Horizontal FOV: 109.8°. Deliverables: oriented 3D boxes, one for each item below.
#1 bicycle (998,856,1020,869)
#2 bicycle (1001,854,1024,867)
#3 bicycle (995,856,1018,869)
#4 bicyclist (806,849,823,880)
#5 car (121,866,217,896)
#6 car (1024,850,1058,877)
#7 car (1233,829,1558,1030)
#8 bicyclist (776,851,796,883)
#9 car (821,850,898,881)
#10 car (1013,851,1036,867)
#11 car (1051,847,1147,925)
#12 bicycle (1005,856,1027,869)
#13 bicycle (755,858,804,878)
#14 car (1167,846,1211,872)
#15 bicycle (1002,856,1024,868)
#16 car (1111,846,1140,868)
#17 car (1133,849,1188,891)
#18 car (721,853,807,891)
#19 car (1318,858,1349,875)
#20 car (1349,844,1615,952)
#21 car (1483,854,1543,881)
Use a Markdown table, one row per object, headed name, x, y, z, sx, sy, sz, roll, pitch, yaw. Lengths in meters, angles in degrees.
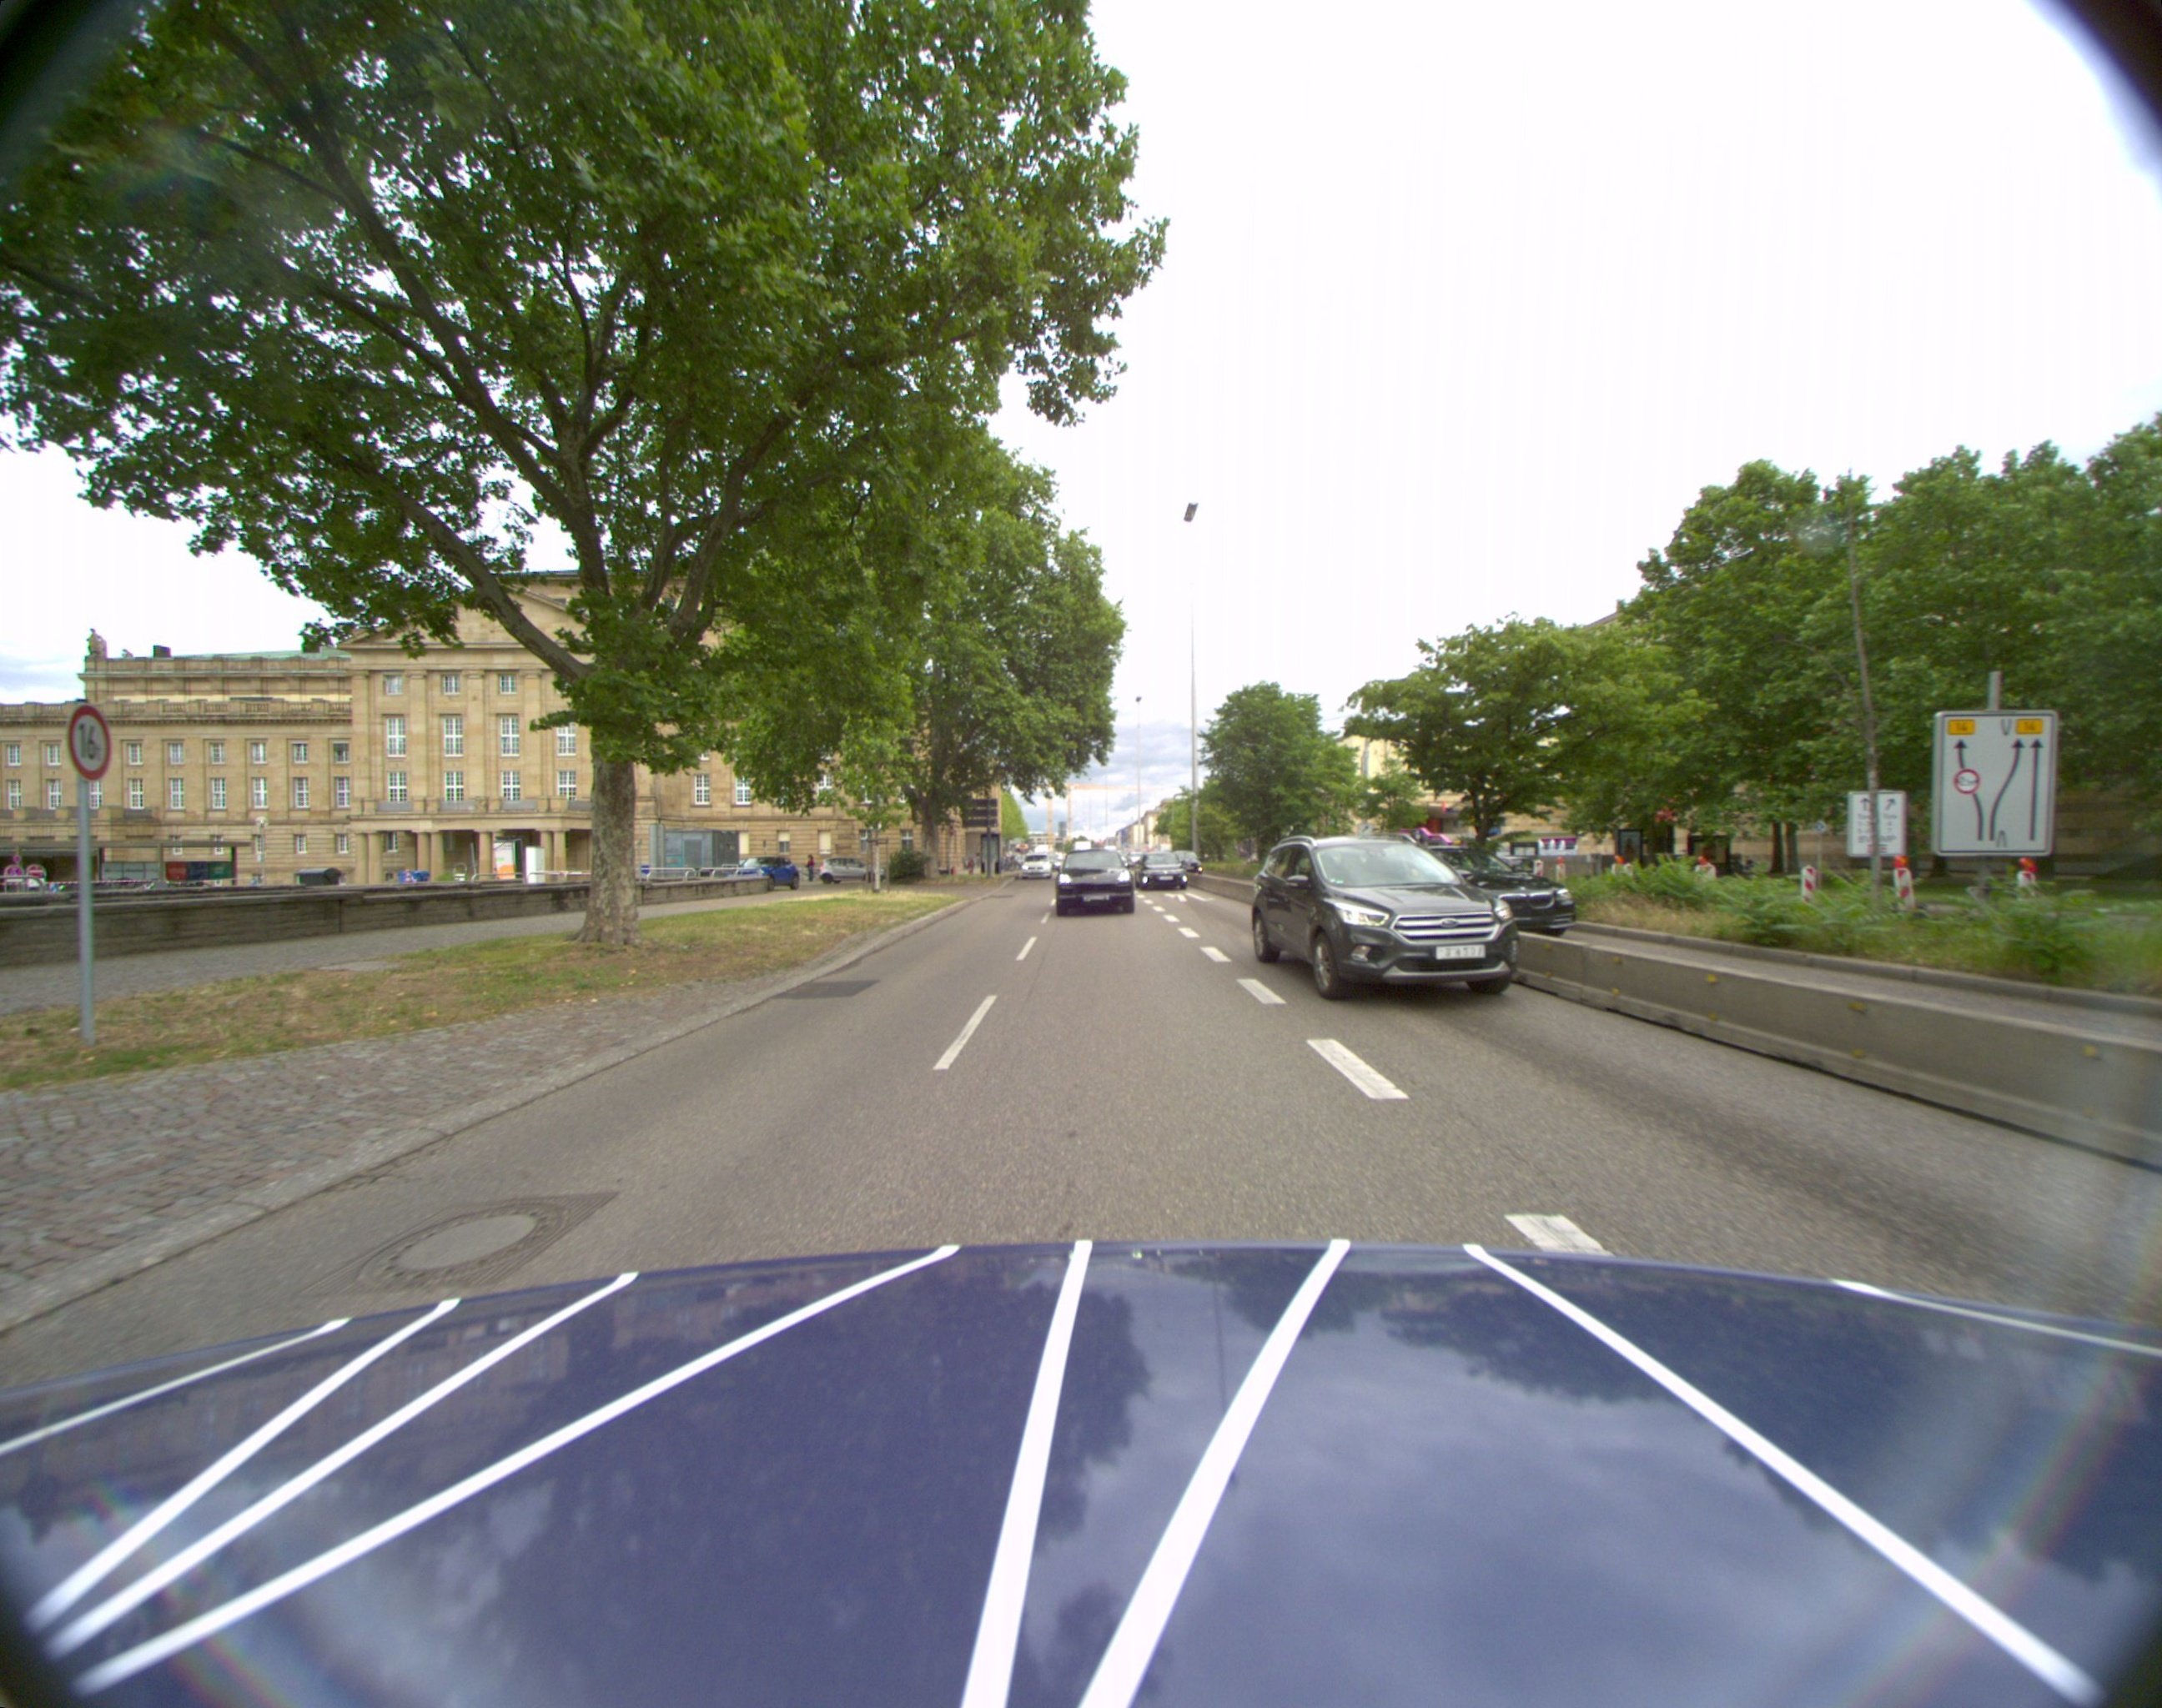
| name | x | y | z | sx | sy | sz | roll | pitch | yaw |
| --- | --- | --- | --- | --- | --- | --- | --- | --- | --- |
| bicycle | -6.200 | 0.748 | 65.105 | 1.841 | 1.066 | 0.618 | -1 | 1 | -7 |
| bicycle | -6.173 | 0.622 | 68.537 | 1.939 | 1.126 | 0.540 | -1 | 1 | -19 |
| bicycle | -6.317 | 0.730 | 64.428 | 1.918 | 1.092 | 0.541 | -1 | 1 | -7 |
| bicyclist | -18.063 | 0.712 | 51.518 | 0.879 | 2.002 | 0.842 | -4 | 2 | -25 |
| car | -61.596 | 1.825 | 51.374 | 3.997 | 1.707 | 2.000 | -3 | 1 | 0 |
| car | -2.477 | 0.567 | 47.908 | 1.695 | 1.585 | 4.000 | -1 | 1 | 2 |
| car | 3.224 | 0.665 | 8.994 | 1.898 | 1.705 | 4.658 | -2 | 0 | 0 |
| bicyclist | -19.121 | 0.839 | 49.307 | 1.105 | 2.002 | 1.010 | -2 | 0 | -18 |
| car | -13.188 | 0.687 | 45.470 | 3.997 | 1.587 | 1.734 | -3 | 1 | 0 |
| car | -5.752 | 0.471 | 78.168 | 1.843 | 1.522 | 4.000 | -1 | 1 | 3 |
| car | 0.318 | 0.709 | 19.627 | 2.062 | 1.616 | 4.599 | -4 | 1 | -3 |
| bicycle | -5.683 | 0.714 | 66.058 | 1.841 | 1.066 | 0.532 | -1 | 1 | -8 |
| bicycle | -19.499 | 0.912 | 49.226 | 2.846 | 1.178 | 1.096 | -1 | 1 | -16 |
| car | 6.534 | 0.303 | 46.506 | 1.999 | 1.474 | 4.808 | -1 | 0 | 0 |
| bicycle | -5.988 | 0.703 | 66.987 | 1.842 | 1.066 | 0.531 | -1 | 1 | -19 |
| car | 3.521 | 0.221 | 60.600 | 1.998 | 1.607 | 4.737 | -1 | 1 | 0 |
| car | 3.153 | 0.596 | 30.828 | 1.767 | 1.507 | 4.151 | -2 | 1 | 0 |
| car | -13.619 | 0.769 | 32.916 | 1.768 | 1.508 | 4.219 | -1 | -1 | 2 |
| car | 21.527 | 1.051 | 64.988 | 1.355 | 1.281 | 3.736 | -3 | 1 | 0 |
| car | 6.481 | 0.611 | 13.061 | 1.999 | 1.474 | 4.808 | -1 | 0 | 0 |
| car | 22.905 | 0.698 | 40.381 | 1.356 | 1.281 | 3.055 | -3 | 1 | 0 |
